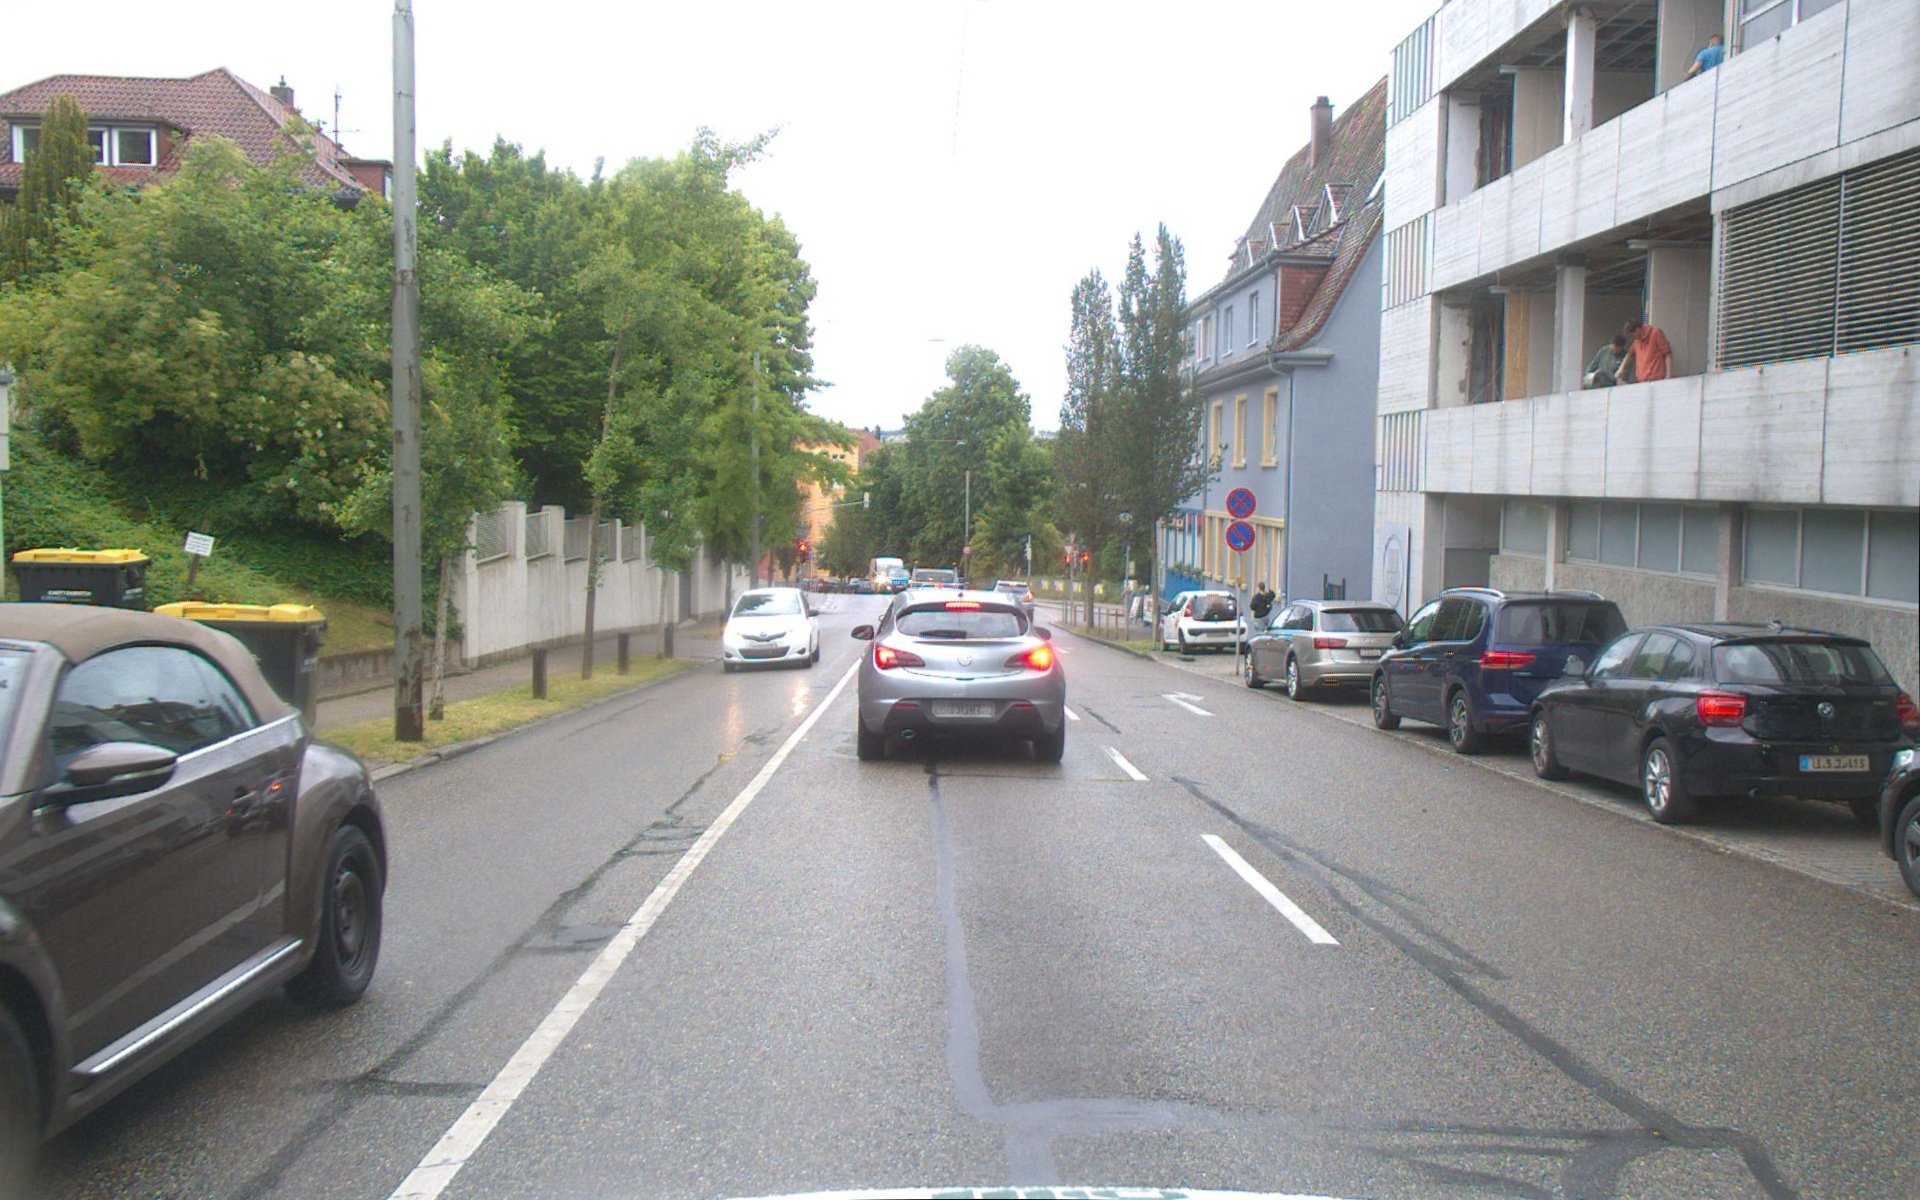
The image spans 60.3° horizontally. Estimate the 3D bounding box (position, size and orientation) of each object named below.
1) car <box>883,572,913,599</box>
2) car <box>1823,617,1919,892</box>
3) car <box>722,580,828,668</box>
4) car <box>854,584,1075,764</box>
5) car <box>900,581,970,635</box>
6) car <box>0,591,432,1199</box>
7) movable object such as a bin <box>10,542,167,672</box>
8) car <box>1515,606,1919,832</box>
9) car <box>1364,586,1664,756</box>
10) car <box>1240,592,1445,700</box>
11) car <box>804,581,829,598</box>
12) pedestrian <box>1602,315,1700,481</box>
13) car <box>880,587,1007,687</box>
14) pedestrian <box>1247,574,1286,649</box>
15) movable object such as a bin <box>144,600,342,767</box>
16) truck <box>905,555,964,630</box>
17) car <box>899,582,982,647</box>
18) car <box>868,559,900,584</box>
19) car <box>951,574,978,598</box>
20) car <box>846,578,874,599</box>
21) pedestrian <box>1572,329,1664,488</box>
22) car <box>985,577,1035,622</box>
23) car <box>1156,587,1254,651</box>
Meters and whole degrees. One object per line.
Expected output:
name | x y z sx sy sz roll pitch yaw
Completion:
car | -3.883 -0.919 104.147 1.833 1.666 3.878 0 0 -2
car | 6.223 0.871 7.666 1.954 1.460 4.440 1 0 -3
car | -3.576 0.425 32.500 1.674 1.558 3.841 -2 1 -1
car | -0.051 0.592 15.476 1.800 1.459 3.877 1 0 -3
car | -0.785 0.202 48.687 1.922 1.473 4.303 2 1 -2
car | -2.969 0.741 4.675 1.742 1.473 3.999 -1 1 -2
movable object such as a bin | -10.334 0.065 19.691 1.274 1.387 1.226 1 6 -8
car | 5.979 0.813 13.291 1.712 1.473 4.252 0 0 1
car | 5.819 0.662 17.923 1.694 1.627 4.159 0 0 -3
car | 5.764 0.641 25.531 1.923 1.473 4.524 0 1 -3
car | -14.674 -1.058 169.440 1.696 1.666 3.859 0 0 -18
pedestrian | 8.996 -2.610 21.566 0.889 2.049 0.861 1 -1 -2
car | -0.328 0.555 27.698 1.922 1.473 4.303 2 1 -2
pedestrian | 7.367 0.268 39.799 0.767 1.759 0.650 2 0 -1
movable object such as a bin | -6.075 0.692 14.100 1.274 1.329 1.153 1 1 -9
truck | -0.949 -0.286 58.684 1.922 2.471 4.934 2 1 -2
car | -0.535 0.317 41.031 1.922 1.473 4.303 2 1 -2
car | -5.156 -1.915 111.758 1.691 1.666 3.871 0 0 -10
car | 0.304 -1.011 120.522 1.689 1.666 3.876 0 0 -5
car | -8.298 -0.908 136.969 1.692 1.666 3.868 2 0 -12
pedestrian | 9.014 -2.605 22.674 0.889 2.049 0.861 1 -1 -2
car | 1.986 -0.041 66.772 1.688 1.744 3.877 0 0 -3
car | 5.936 0.420 40.415 1.688 1.473 3.878 0 0 -2
